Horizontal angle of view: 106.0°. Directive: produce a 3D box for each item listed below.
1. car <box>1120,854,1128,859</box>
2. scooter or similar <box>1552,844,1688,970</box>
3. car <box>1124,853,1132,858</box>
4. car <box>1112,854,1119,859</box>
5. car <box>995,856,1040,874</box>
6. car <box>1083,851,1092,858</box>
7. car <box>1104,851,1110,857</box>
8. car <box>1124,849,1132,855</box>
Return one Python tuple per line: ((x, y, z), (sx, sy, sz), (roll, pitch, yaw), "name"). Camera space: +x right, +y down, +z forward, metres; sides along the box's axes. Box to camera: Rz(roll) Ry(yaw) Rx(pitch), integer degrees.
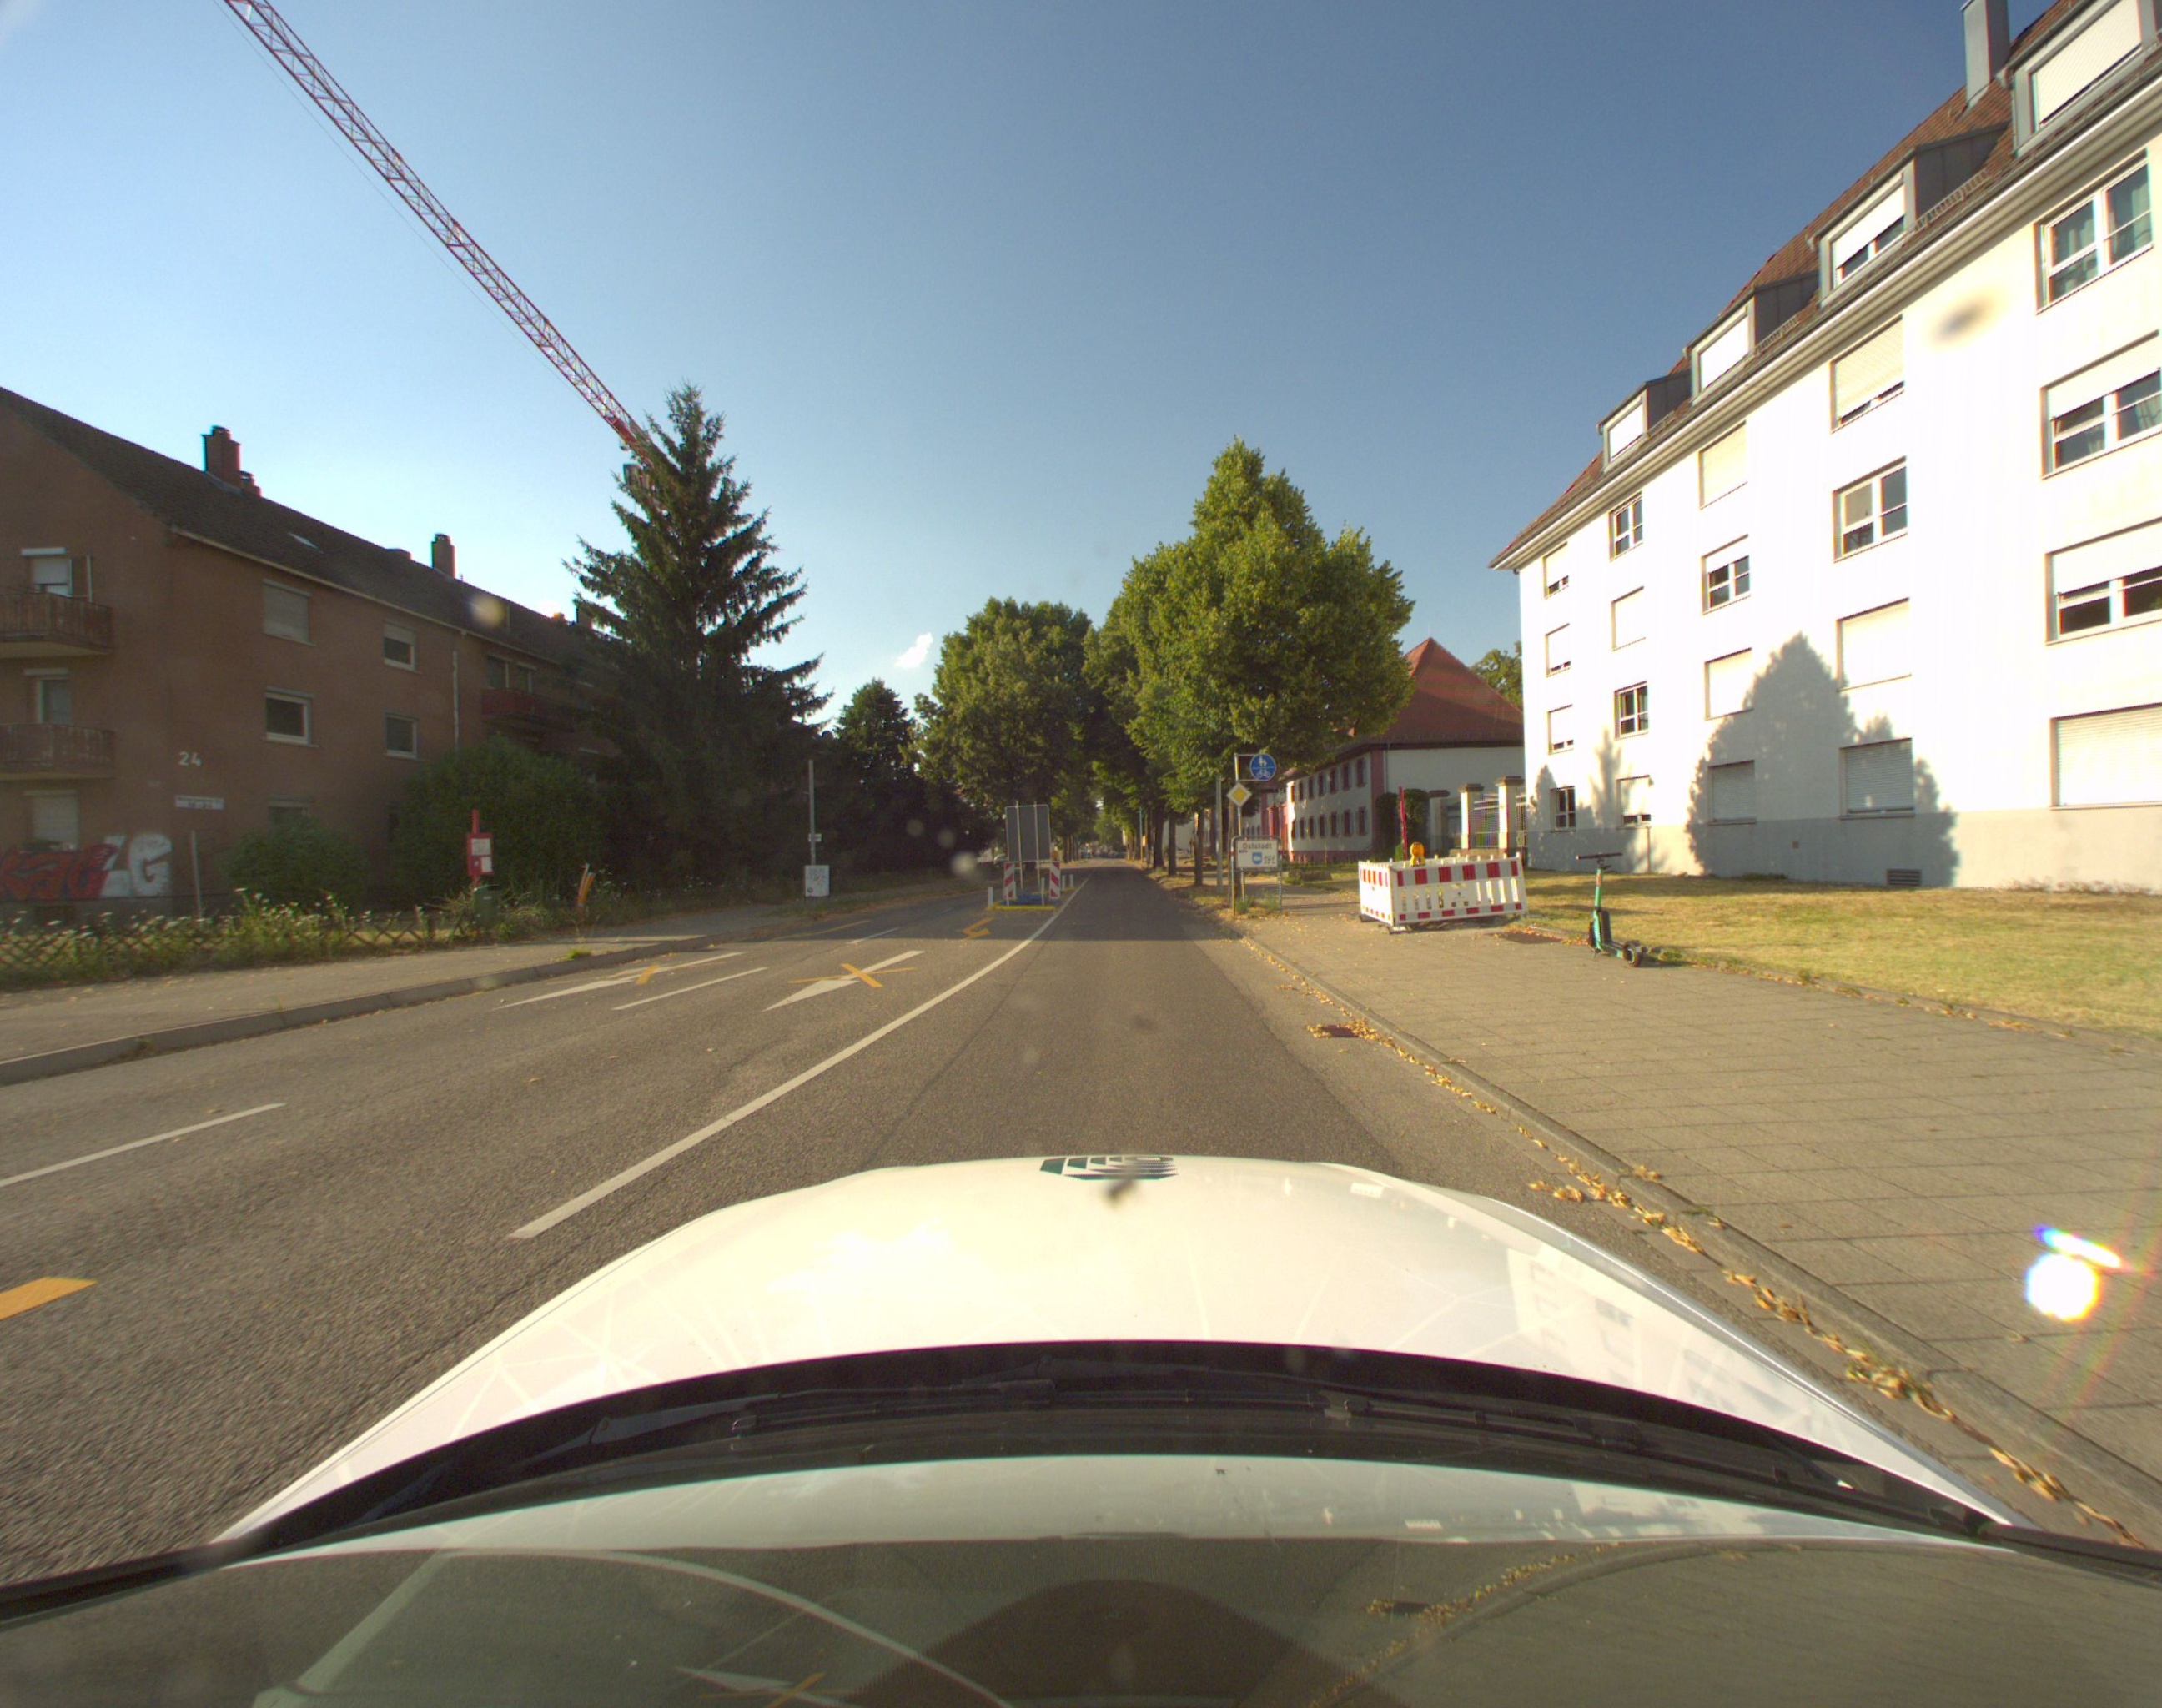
((10.990, 0.604, 209.024), (1.834, 1.261, 4.001), (-2, 0, 2), "car")
((6.117, 0.559, 9.334), (0.557, 1.292, 1.463), (-4, 0, 2), "scooter or similar")
((11.029, 0.336, 191.615), (1.834, 1.261, 4.001), (-2, 0, 2), "car")
((10.061, 0.736, 238.118), (1.836, 1.386, 3.998), (-2, 0, -1), "car")
((-5.792, 1.014, 74.106), (3.827, 1.473, 1.653), (-1, 0, 4), "car")
((1.691, 0.214, 214.334), (1.989, 1.687, 3.995), (-2, -1, -3), "car")
((7.550, 0.051, 237.439), (1.709, 1.486, 3.997), (-3, -1, -1), "car")
((11.725, -0.542, 202.107), (1.832, 1.261, 4.006), (-2, 0, 5), "car")
